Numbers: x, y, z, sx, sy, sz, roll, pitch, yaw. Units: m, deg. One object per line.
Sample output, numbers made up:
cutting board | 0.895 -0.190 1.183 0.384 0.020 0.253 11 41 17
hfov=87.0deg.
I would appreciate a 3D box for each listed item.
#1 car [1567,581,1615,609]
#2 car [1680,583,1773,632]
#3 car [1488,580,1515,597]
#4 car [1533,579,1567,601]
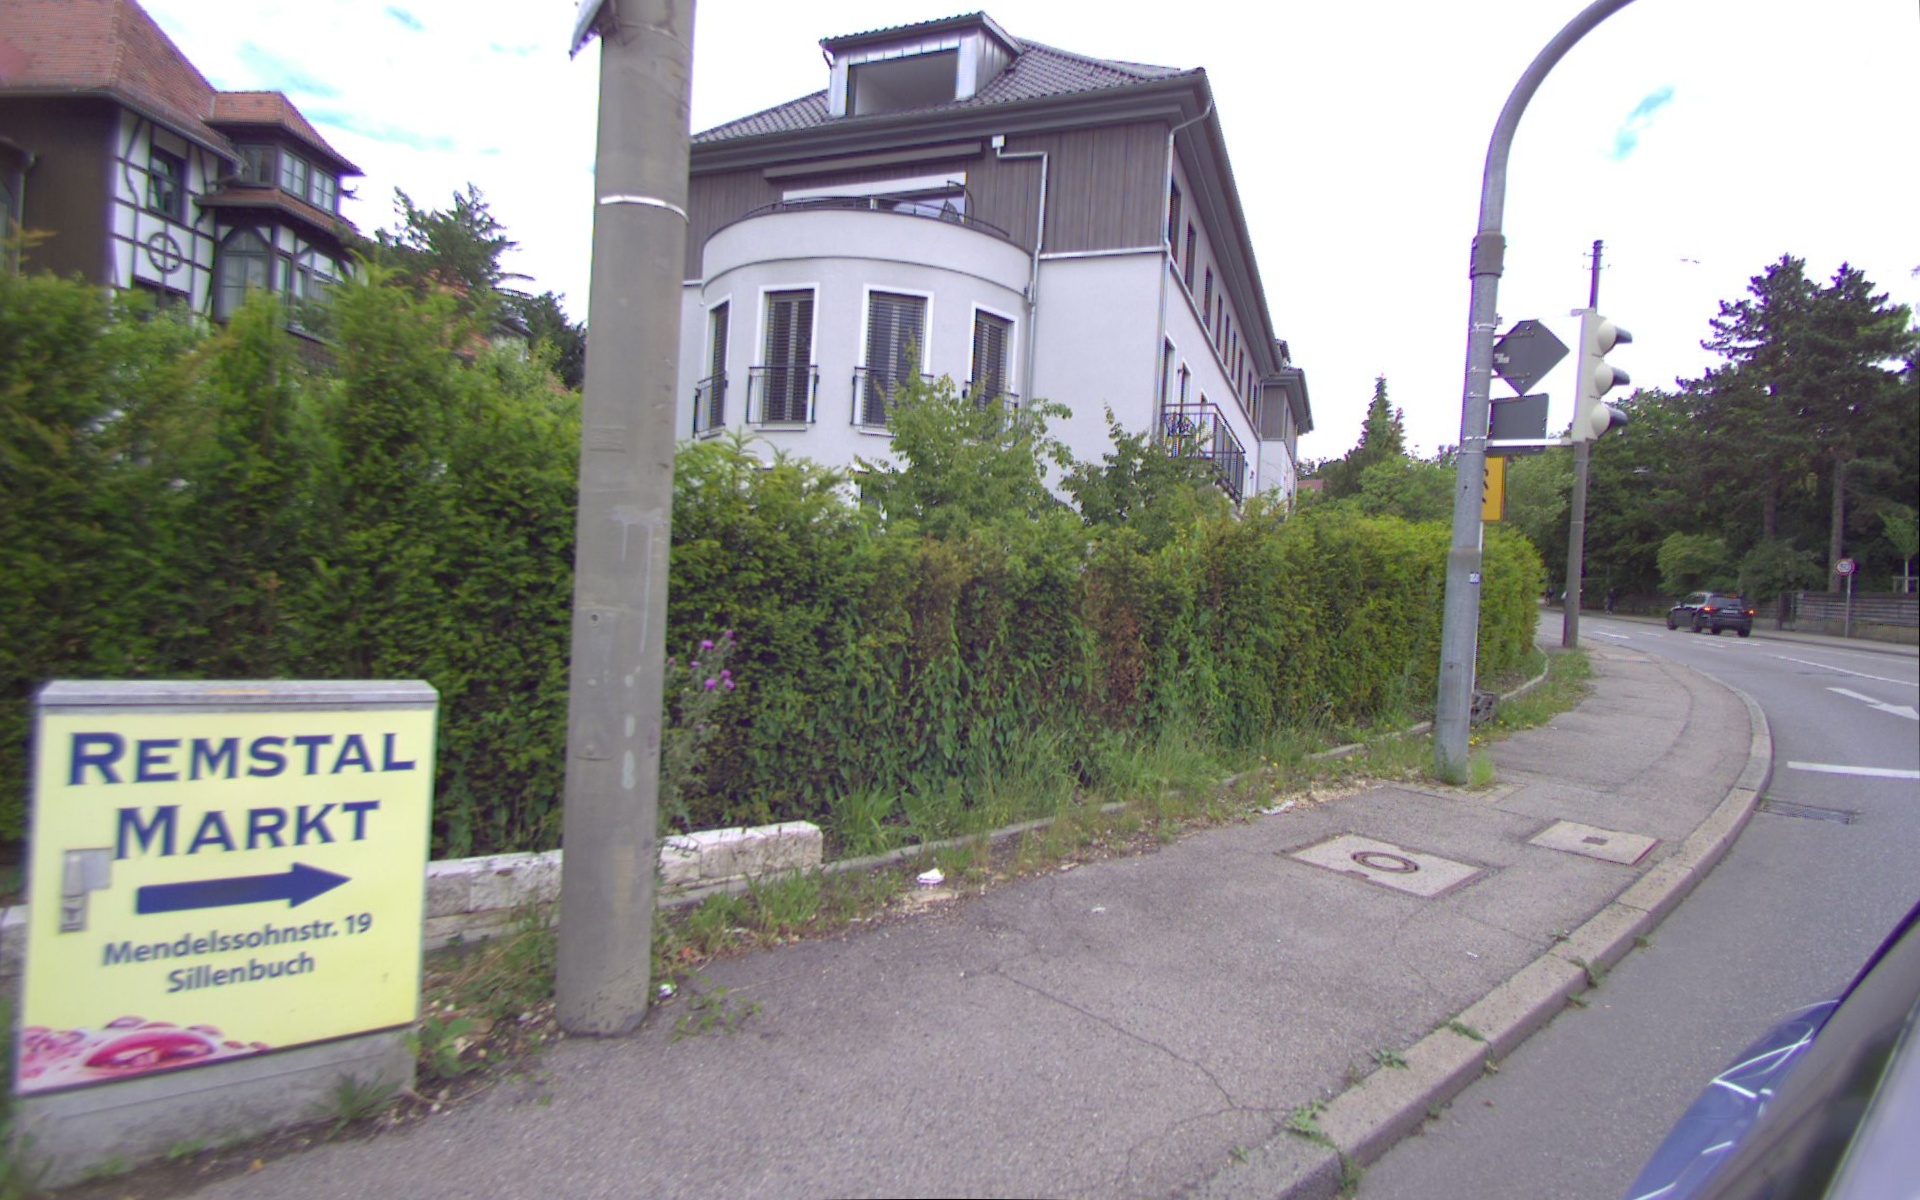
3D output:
car | 42.041 -0.335 67.486 1.909 1.700 3.547 4 2 20
car | 30.404 0.253 40.273 1.909 1.700 3.547 4 2 20
car | 54.556 -1.158 102.024 1.978 1.536 3.968 3 2 23
car | 47.989 -0.811 82.329 1.662 1.649 3.596 4 2 20
